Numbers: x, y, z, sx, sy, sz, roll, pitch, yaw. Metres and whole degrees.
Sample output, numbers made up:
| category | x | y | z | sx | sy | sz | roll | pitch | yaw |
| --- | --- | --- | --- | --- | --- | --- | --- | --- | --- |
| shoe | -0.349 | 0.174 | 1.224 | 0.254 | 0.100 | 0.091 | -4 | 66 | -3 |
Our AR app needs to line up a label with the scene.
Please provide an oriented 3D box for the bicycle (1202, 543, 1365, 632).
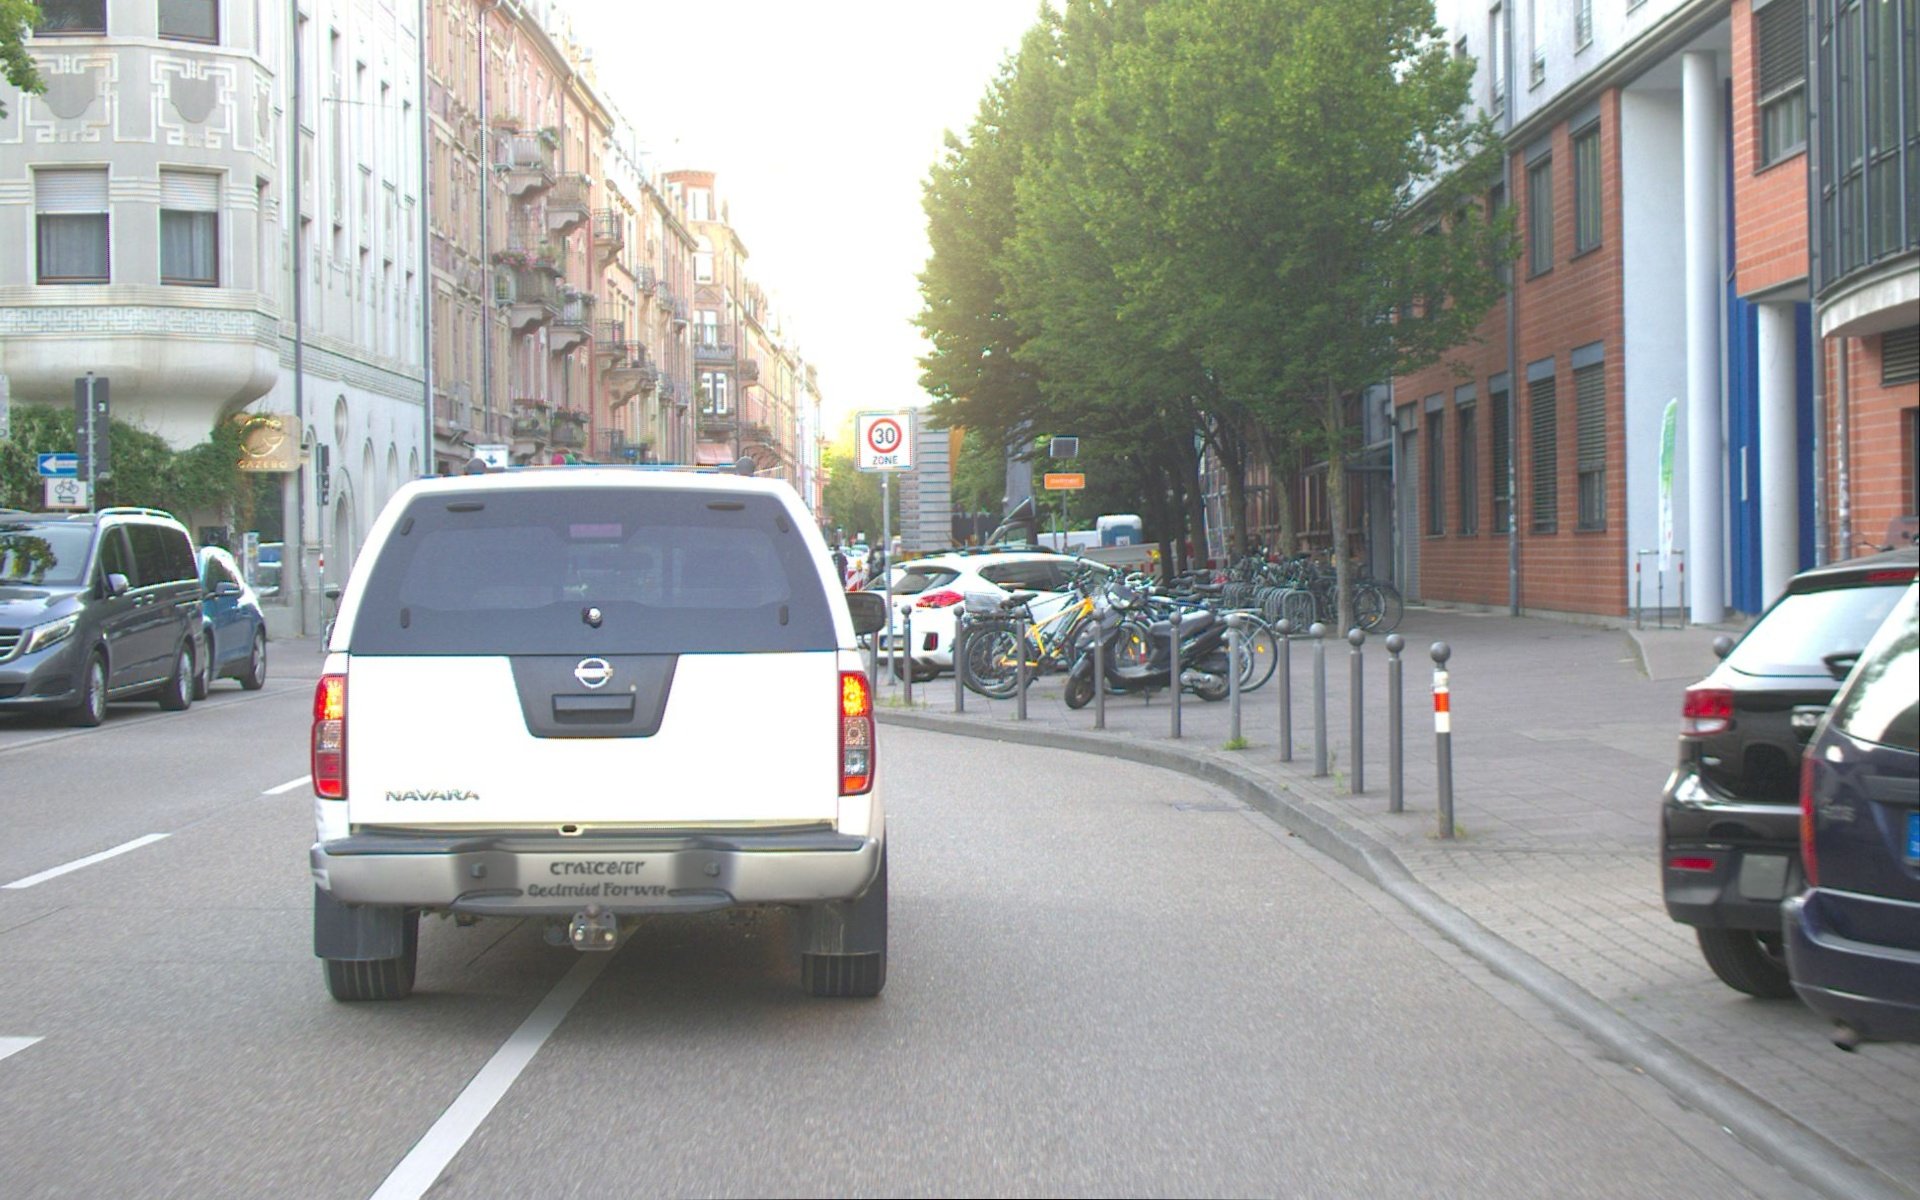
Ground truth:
| category | x | y | z | sx | sy | sz | roll | pitch | yaw |
| --- | --- | --- | --- | --- | --- | --- | --- | --- | --- |
| bicycle | 5.160 | -0.199 | 54.918 | 2.534 | 1.375 | 0.599 | -1 | 1 | 2 |

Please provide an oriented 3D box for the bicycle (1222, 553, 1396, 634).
| category | x | y | z | sx | sy | sz | roll | pitch | yaw |
| --- | --- | --- | --- | --- | --- | --- | --- | --- | --- |
| bicycle | 5.200 | -0.100 | 51.303 | 2.534 | 1.162 | 0.562 | -1 | 1 | 2 |

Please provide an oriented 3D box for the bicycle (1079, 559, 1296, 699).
| category | x | y | z | sx | sy | sz | roll | pitch | yaw |
| --- | --- | --- | --- | --- | --- | --- | --- | --- | --- |
| bicycle | 2.066 | 0.261 | 31.392 | 1.859 | 1.142 | 0.659 | -4 | 1 | -1 |

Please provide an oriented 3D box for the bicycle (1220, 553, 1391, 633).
| category | x | y | z | sx | sy | sz | roll | pitch | yaw |
| --- | --- | --- | --- | --- | --- | --- | --- | --- | --- |
| bicycle | 5.210 | -0.112 | 51.914 | 2.534 | 1.162 | 0.562 | -1 | 1 | 2 |

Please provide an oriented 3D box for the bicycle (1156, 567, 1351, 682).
| category | x | y | z | sx | sy | sz | roll | pitch | yaw |
| --- | --- | --- | --- | --- | --- | --- | --- | --- | --- |
| bicycle | 2.937 | 0.237 | 34.442 | 1.857 | 1.062 | 0.524 | -3 | 1 | -2 |

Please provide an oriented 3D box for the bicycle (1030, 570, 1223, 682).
| category | x | y | z | sx | sy | sz | roll | pitch | yaw |
| --- | --- | --- | --- | --- | --- | --- | --- | --- | --- |
| bicycle | 1.714 | 0.263 | 35.523 | 1.911 | 1.062 | 0.524 | -3 | 1 | -2 |

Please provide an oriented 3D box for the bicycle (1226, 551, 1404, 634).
| category | x | y | z | sx | sy | sz | roll | pitch | yaw |
| --- | --- | --- | --- | --- | --- | --- | --- | --- | --- |
| bicycle | 5.153 | -0.114 | 50.030 | 2.534 | 1.162 | 0.562 | -1 | 1 | 2 |

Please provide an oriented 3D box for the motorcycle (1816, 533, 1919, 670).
| category | x | y | z | sx | sy | sz | roll | pitch | yaw |
| --- | --- | --- | --- | --- | --- | --- | --- | --- | --- |
| motorcycle | 7.958 | -0.002 | 29.363 | 0.588 | 1.099 | 2.084 | -3 | 1 | -4 |

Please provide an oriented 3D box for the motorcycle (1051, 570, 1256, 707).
| category | x | y | z | sx | sy | sz | roll | pitch | yaw |
| --- | --- | --- | --- | --- | --- | --- | --- | --- | --- |
| motorcycle | 1.689 | 0.325 | 30.148 | 1.644 | 1.098 | 0.647 | -3 | 1 | -9 |

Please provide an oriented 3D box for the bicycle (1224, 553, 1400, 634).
| category | x | y | z | sx | sy | sz | roll | pitch | yaw |
| --- | --- | --- | --- | --- | --- | --- | --- | --- | --- |
| bicycle | 5.176 | -0.098 | 50.679 | 2.534 | 1.162 | 0.562 | -1 | 1 | 2 |

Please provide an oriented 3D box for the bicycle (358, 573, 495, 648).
| category | x | y | z | sx | sy | sz | roll | pitch | yaw |
| --- | --- | --- | --- | --- | --- | --- | --- | --- | --- |
| bicycle | -8.050 | 0.154 | 51.866 | 2.113 | 1.091 | 0.500 | 1 | 2 | 25 |

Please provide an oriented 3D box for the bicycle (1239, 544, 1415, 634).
| category | x | y | z | sx | sy | sz | roll | pitch | yaw |
| --- | --- | --- | --- | --- | --- | --- | --- | --- | --- |
| bicycle | 5.131 | -0.152 | 48.200 | 2.346 | 1.095 | 0.680 | -4 | 0 | 2 |

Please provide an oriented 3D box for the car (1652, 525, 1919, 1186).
| category | x | y | z | sx | sy | sz | roll | pitch | yaw |
| --- | --- | --- | --- | --- | --- | --- | --- | --- | --- |
| car | 4.102 | 0.542 | 8.769 | 4.342 | 1.497 | 1.913 | -1 | 1 | -28 |

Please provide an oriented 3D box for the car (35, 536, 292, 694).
| category | x | y | z | sx | sy | sz | roll | pitch | yaw |
| --- | --- | --- | --- | --- | --- | --- | --- | --- | --- |
| car | -8.274 | 0.117 | 36.030 | 1.640 | 1.550 | 4.004 | 0 | 1 | 2 |

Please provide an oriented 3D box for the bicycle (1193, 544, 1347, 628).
| category | x | y | z | sx | sy | sz | roll | pitch | yaw |
| --- | --- | --- | --- | --- | --- | --- | --- | --- | --- |
| bicycle | 5.214 | -0.241 | 57.885 | 2.534 | 1.375 | 0.599 | -1 | 1 | 2 |

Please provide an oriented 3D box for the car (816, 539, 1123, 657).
| category | x | y | z | sx | sy | sz | roll | pitch | yaw |
| --- | --- | --- | --- | --- | --- | --- | --- | --- | --- |
| car | 0.147 | -0.052 | 47.767 | 3.987 | 1.532 | 1.636 | -1 | 1 | -31 |

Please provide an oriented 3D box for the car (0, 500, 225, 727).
| category | x | y | z | sx | sy | sz | roll | pitch | yaw |
| --- | --- | --- | --- | --- | --- | --- | --- | --- | --- |
| car | -8.216 | 0.075 | 30.898 | 1.993 | 1.860 | 5.289 | 0 | 1 | 1 |

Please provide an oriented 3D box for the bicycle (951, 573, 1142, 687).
| category | x | y | z | sx | sy | sz | roll | pitch | yaw |
| --- | --- | --- | --- | --- | --- | --- | --- | --- | --- |
| bicycle | 0.870 | 0.297 | 34.687 | 1.857 | 1.062 | 0.446 | -3 | 1 | -2 |

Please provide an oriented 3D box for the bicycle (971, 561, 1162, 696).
| category | x | y | z | sx | sy | sz | roll | pitch | yaw |
| --- | --- | --- | --- | --- | --- | --- | --- | --- | --- |
| bicycle | 0.987 | 0.258 | 32.010 | 1.707 | 1.172 | 0.472 | -3 | 1 | -2 |

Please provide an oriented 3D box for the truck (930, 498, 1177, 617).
| category | x | y | z | sx | sy | sz | roll | pitch | yaw |
| --- | --- | --- | --- | --- | --- | --- | --- | --- | --- |
| truck | 2.419 | -1.078 | 89.388 | 6.320 | 2.966 | 2.264 | 0 | -2 | 1 |

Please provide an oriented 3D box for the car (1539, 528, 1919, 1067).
| category | x | y | z | sx | sy | sz | roll | pitch | yaw |
| --- | --- | --- | --- | --- | --- | --- | --- | --- | --- |
| car | 4.012 | 0.505 | 11.149 | 4.056 | 1.487 | 1.724 | -1 | 1 | -31 |

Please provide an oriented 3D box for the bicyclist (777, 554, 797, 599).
| category | x | y | z | sx | sy | sz | roll | pitch | yaw |
| --- | --- | --- | --- | --- | --- | --- | --- | --- | --- |
| bicyclist | -7.047 | -0.953 | 139.698 | 0.800 | 1.843 | 0.944 | 0 | 1 | -3 |

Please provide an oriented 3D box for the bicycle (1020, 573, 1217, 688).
| category | x | y | z | sx | sy | sz | roll | pitch | yaw |
| --- | --- | --- | --- | --- | --- | --- | --- | --- | --- |
| bicycle | 1.543 | 0.294 | 33.649 | 1.857 | 1.035 | 0.402 | -3 | 1 | -2 |

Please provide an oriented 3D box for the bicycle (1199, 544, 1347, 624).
| category | x | y | z | sx | sy | sz | roll | pitch | yaw |
| --- | --- | --- | --- | --- | --- | --- | --- | --- | --- |
| bicycle | 5.493 | -0.287 | 60.373 | 2.534 | 1.375 | 0.599 | -1 | 1 | 2 |

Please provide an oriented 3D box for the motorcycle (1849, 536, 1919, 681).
| category | x | y | z | sx | sy | sz | roll | pitch | yaw |
| --- | --- | --- | --- | --- | --- | --- | --- | --- | --- |
| motorcycle | 7.922 | 0.056 | 26.951 | 0.775 | 1.135 | 2.417 | -2 | 1 | -13 |

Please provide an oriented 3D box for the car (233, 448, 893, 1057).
| category | x | y | z | sx | sy | sz | roll | pitch | yaw |
| --- | --- | --- | --- | --- | --- | --- | --- | --- | --- |
| car | -1.219 | 0.384 | 12.472 | 1.933 | 1.788 | 4.622 | 0 | 2 | -1 |

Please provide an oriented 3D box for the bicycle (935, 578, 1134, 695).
| category | x | y | z | sx | sy | sz | roll | pitch | yaw |
| --- | --- | --- | --- | --- | --- | --- | --- | --- | --- |
| bicycle | 0.713 | 0.344 | 33.108 | 1.857 | 1.035 | 0.472 | -3 | 1 | -2 |

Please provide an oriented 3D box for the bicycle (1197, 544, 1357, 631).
| category | x | y | z | sx | sy | sz | roll | pitch | yaw |
| --- | --- | --- | --- | --- | --- | --- | --- | --- | --- |
| bicycle | 5.129 | -0.207 | 55.633 | 2.534 | 1.375 | 0.599 | -1 | 1 | 2 |

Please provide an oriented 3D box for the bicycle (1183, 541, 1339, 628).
| category | x | y | z | sx | sy | sz | roll | pitch | yaw |
| --- | --- | --- | --- | --- | --- | --- | --- | --- | --- |
| bicycle | 5.178 | -0.275 | 59.227 | 2.535 | 1.240 | 0.599 | -6 | 0 | 2 |

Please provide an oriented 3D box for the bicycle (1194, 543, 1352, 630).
| category | x | y | z | sx | sy | sz | roll | pitch | yaw |
| --- | --- | --- | --- | --- | --- | --- | --- | --- | --- |
| bicycle | 5.116 | -0.222 | 56.265 | 2.534 | 1.375 | 0.599 | -1 | 1 | 2 |

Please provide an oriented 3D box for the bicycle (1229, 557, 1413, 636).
| category | x | y | z | sx | sy | sz | roll | pitch | yaw |
| --- | --- | --- | --- | --- | --- | --- | --- | --- | --- |
| bicycle | 5.172 | -0.057 | 49.409 | 2.534 | 0.956 | 0.680 | -4 | 1 | 2 |

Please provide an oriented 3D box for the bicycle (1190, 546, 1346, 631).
| category | x | y | z | sx | sy | sz | roll | pitch | yaw |
| --- | --- | --- | --- | --- | --- | --- | --- | --- | --- |
| bicycle | 5.112 | -0.192 | 57.094 | 2.534 | 1.375 | 0.599 | -1 | 1 | 2 |

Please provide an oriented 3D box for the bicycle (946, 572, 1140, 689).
| category | x | y | z | sx | sy | sz | roll | pitch | yaw |
| --- | --- | --- | --- | --- | --- | --- | --- | --- | --- |
| bicycle | 0.816 | 0.297 | 34.105 | 1.857 | 1.062 | 0.446 | -3 | 1 | -2 |

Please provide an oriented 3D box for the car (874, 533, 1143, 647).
| category | x | y | z | sx | sy | sz | roll | pitch | yaw |
| --- | --- | --- | --- | --- | --- | --- | --- | --- | --- |
| car | 0.727 | -0.160 | 50.519 | 3.594 | 1.575 | 1.716 | -1 | 1 | -33 |

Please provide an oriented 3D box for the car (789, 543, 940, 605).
| category | x | y | z | sx | sy | sz | roll | pitch | yaw |
| --- | --- | --- | --- | --- | --- | --- | --- | --- | --- |
| car | -2.750 | -0.766 | 99.813 | 4.196 | 1.774 | 1.819 | 0 | 1 | 6 |

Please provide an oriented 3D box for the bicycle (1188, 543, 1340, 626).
| category | x | y | z | sx | sy | sz | roll | pitch | yaw |
| --- | --- | --- | --- | --- | --- | --- | --- | --- | --- |
| bicycle | 5.172 | -0.268 | 58.531 | 2.534 | 1.375 | 0.599 | -1 | 1 | 2 |

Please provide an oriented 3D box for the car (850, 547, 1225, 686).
| category | x | y | z | sx | sy | sz | roll | pitch | yaw |
| --- | --- | --- | --- | --- | --- | --- | --- | --- | --- |
| car | 0.913 | 0.163 | 39.910 | 3.987 | 1.501 | 1.770 | -1 | 1 | -29 |

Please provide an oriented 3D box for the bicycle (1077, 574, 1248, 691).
| category | x | y | z | sx | sy | sz | roll | pitch | yaw |
| --- | --- | --- | --- | --- | --- | --- | --- | --- | --- |
| bicycle | 1.913 | 0.305 | 32.602 | 1.539 | 1.035 | 0.472 | -3 | 1 | -2 |

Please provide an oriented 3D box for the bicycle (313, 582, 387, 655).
| category | x | y | z | sx | sy | sz | roll | pitch | yaw |
| --- | --- | --- | --- | --- | --- | --- | --- | --- | --- |
| bicycle | -9.014 | 0.264 | 50.861 | 0.423 | 1.009 | 1.717 | 0 | 2 | 13 |

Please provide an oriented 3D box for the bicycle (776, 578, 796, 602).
| category | x | y | z | sx | sy | sz | roll | pitch | yaw |
| --- | --- | --- | --- | --- | --- | --- | --- | --- | --- |
| bicycle | -7.051 | -0.414 | 139.701 | 0.800 | 0.944 | 2.005 | 0 | 1 | -3 |
